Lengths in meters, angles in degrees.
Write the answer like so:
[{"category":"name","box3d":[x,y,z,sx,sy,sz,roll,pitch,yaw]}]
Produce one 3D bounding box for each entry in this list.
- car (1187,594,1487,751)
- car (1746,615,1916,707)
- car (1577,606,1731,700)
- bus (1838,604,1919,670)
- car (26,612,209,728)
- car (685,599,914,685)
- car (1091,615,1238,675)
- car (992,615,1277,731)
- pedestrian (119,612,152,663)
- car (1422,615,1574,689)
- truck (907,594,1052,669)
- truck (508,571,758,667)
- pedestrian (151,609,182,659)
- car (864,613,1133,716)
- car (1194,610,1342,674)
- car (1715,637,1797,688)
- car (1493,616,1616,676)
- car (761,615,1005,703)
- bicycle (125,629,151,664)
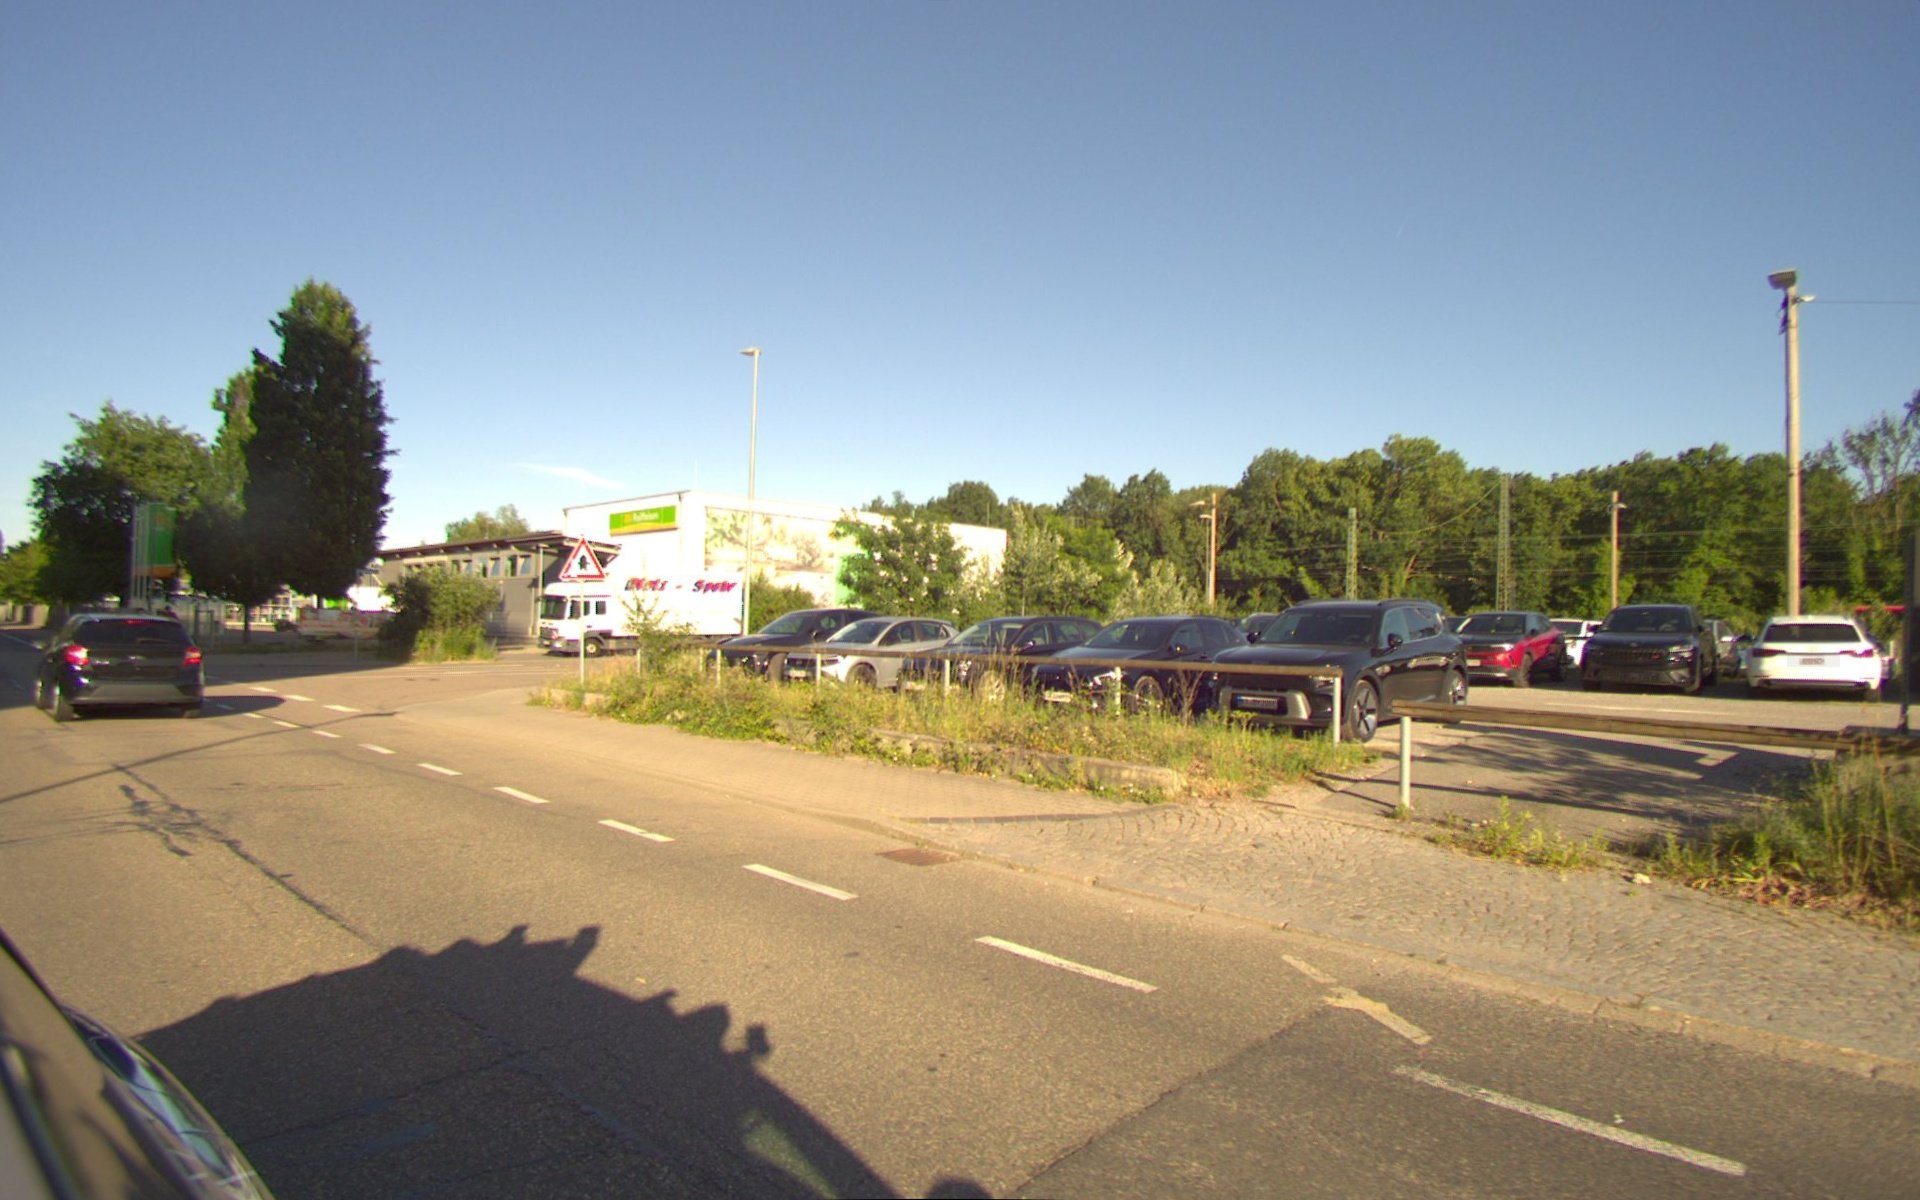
[{"category":"car","box3d":[5.033,0.841,13.192,2.050,1.683,4.377,-1,-2,45]},{"category":"car","box3d":[15.192,0.997,17.765,2.047,1.408,4.118,-1,-2,40]},{"category":"car","box3d":[13.377,0.959,19.405,2.047,1.590,4.118,-1,-2,40]},{"category":"bus","box3d":[36.179,1.352,36.831,2.510,2.366,6.208,2,-3,-44]},{"category":"car","box3d":[-12.793,0.972,15.279,4.001,1.515,1.635,0,-3,44]},{"category":"car","box3d":[-3.255,0.836,21.110,2.050,1.593,4.377,-1,-2,45]},{"category":"car","box3d":[5.560,1.164,27.146,2.047,1.476,4.357,-1,-2,40]},{"category":"car","box3d":[2.715,0.982,15.068,2.050,1.473,4.377,-1,-2,45]},{"category":"pedestrian","box3d":[-28.514,1.284,35.002,1.057,1.734,0.713,-1,-2,44]},{"category":"car","box3d":[11.496,1.051,21.497,2.047,1.408,4.118,-1,-2,40]},{"category":"truck","box3d":[0.924,1.287,41.596,2.316,2.829,6.424,-1,-2,42]},{"category":"truck","box3d":[-13.516,0.758,42.855,2.776,3.642,9.988,0,-1,43]},{"category":"pedestrian","box3d":[-28.083,1.190,35.813,1.057,1.734,0.713,-1,-2,44]},{"category":"car","box3d":[0.753,0.985,16.765,2.050,1.473,4.377,-1,-2,45]},{"category":"car","box3d":[7.866,1.024,25.610,2.047,1.476,4.357,-1,-2,40]},{"category":"car","box3d":[25.076,1.923,31.853,1.726,1.493,3.568,-1,-3,43]},{"category":"car","box3d":[15.228,1.135,25.826,2.047,1.408,4.118,-1,-2,40]},{"category":"car","box3d":[-1.364,1.045,19.242,2.050,1.473,4.377,-1,-2,45]},{"category":"bicycle","box3d":[-28.439,1.584,34.988,2.201,1.157,0.441,-1,-1,44]}]
